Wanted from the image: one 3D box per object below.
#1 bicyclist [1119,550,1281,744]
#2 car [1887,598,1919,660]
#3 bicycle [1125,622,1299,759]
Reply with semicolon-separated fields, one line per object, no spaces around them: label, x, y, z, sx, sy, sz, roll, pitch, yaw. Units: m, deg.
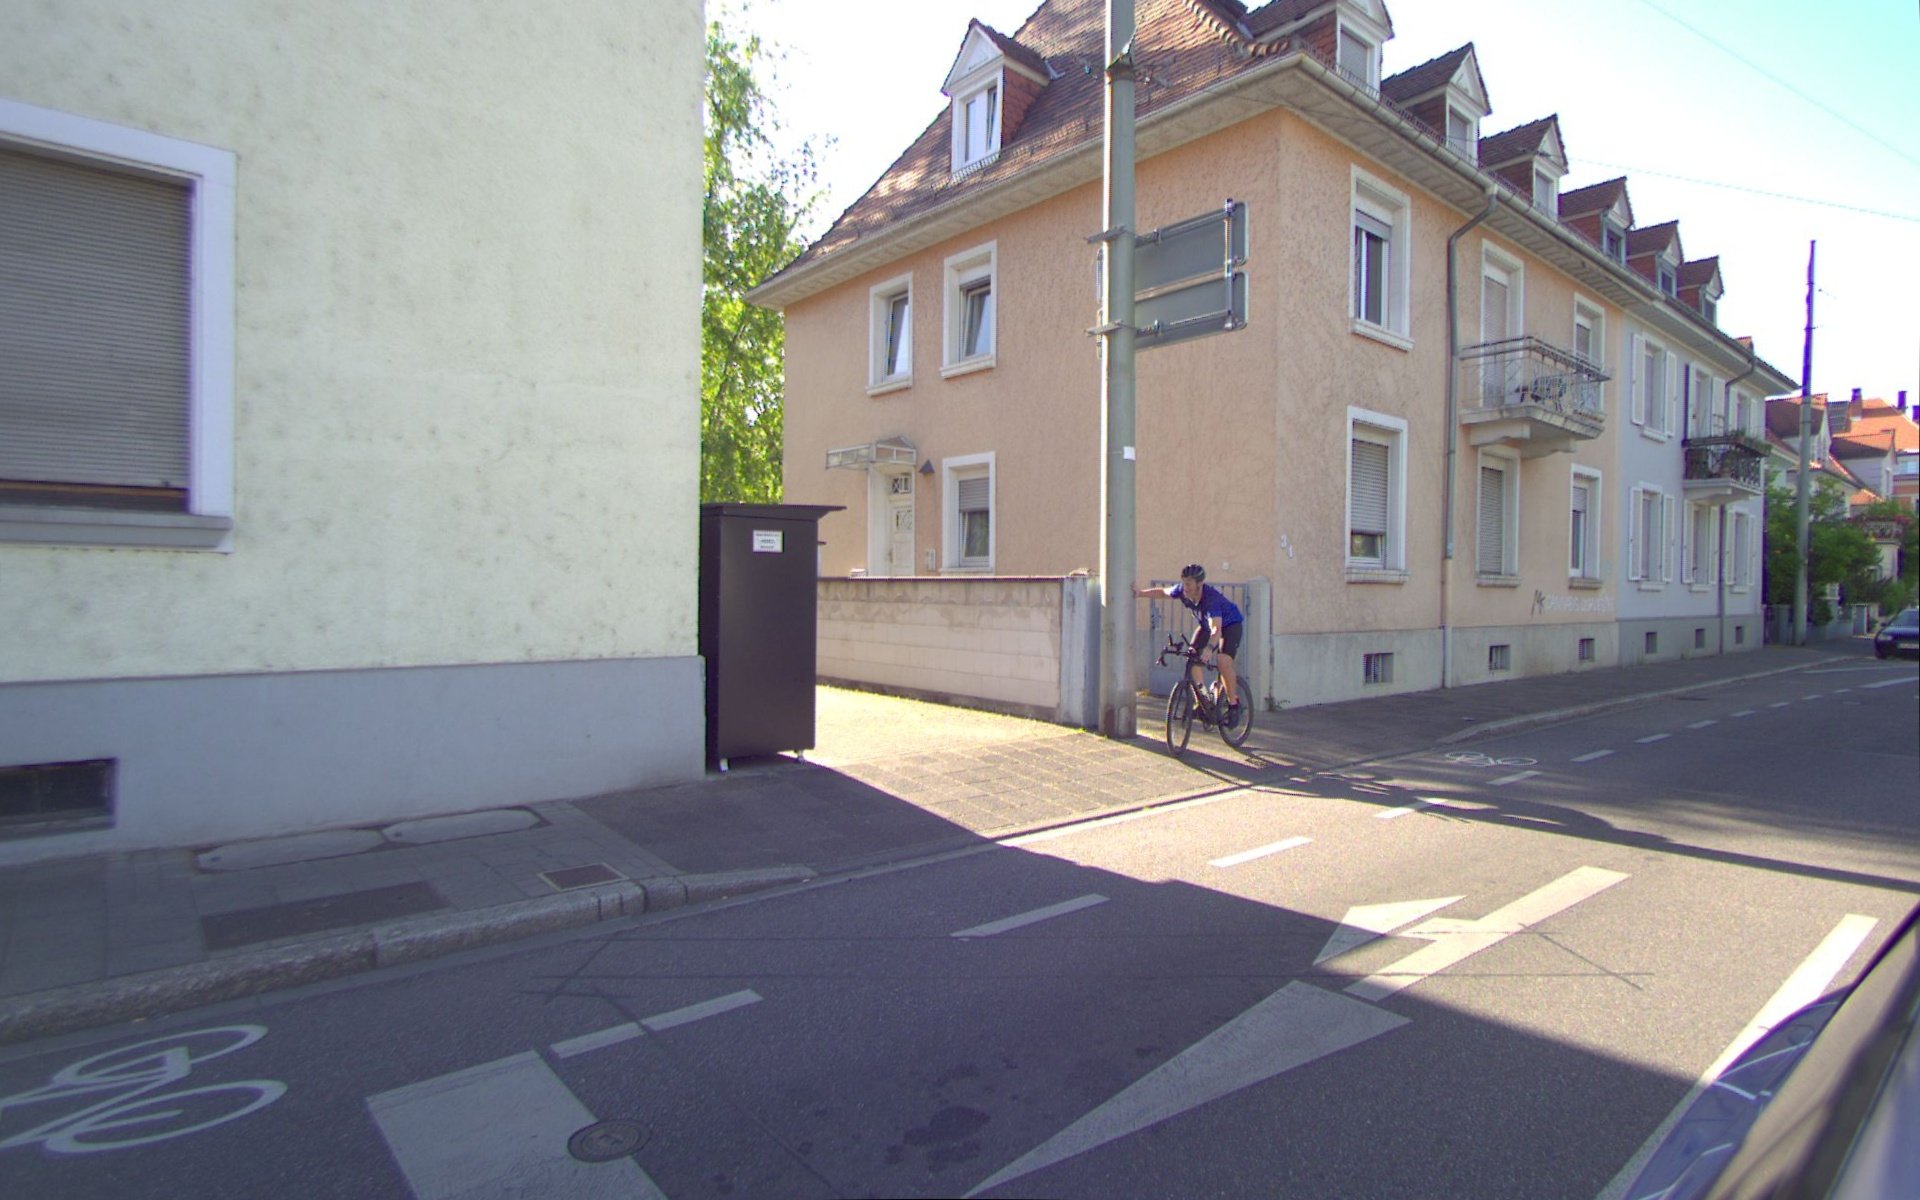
bicyclist;2.241;0.397;9.497;0.870;1.627;1.052;1;5;-41
car;26.698;0.749;27.367;3.742;1.601;1.696;0;-1;-36
bicycle;2.350;0.782;9.327;1.744;1.081;0.592;0;5;-41
